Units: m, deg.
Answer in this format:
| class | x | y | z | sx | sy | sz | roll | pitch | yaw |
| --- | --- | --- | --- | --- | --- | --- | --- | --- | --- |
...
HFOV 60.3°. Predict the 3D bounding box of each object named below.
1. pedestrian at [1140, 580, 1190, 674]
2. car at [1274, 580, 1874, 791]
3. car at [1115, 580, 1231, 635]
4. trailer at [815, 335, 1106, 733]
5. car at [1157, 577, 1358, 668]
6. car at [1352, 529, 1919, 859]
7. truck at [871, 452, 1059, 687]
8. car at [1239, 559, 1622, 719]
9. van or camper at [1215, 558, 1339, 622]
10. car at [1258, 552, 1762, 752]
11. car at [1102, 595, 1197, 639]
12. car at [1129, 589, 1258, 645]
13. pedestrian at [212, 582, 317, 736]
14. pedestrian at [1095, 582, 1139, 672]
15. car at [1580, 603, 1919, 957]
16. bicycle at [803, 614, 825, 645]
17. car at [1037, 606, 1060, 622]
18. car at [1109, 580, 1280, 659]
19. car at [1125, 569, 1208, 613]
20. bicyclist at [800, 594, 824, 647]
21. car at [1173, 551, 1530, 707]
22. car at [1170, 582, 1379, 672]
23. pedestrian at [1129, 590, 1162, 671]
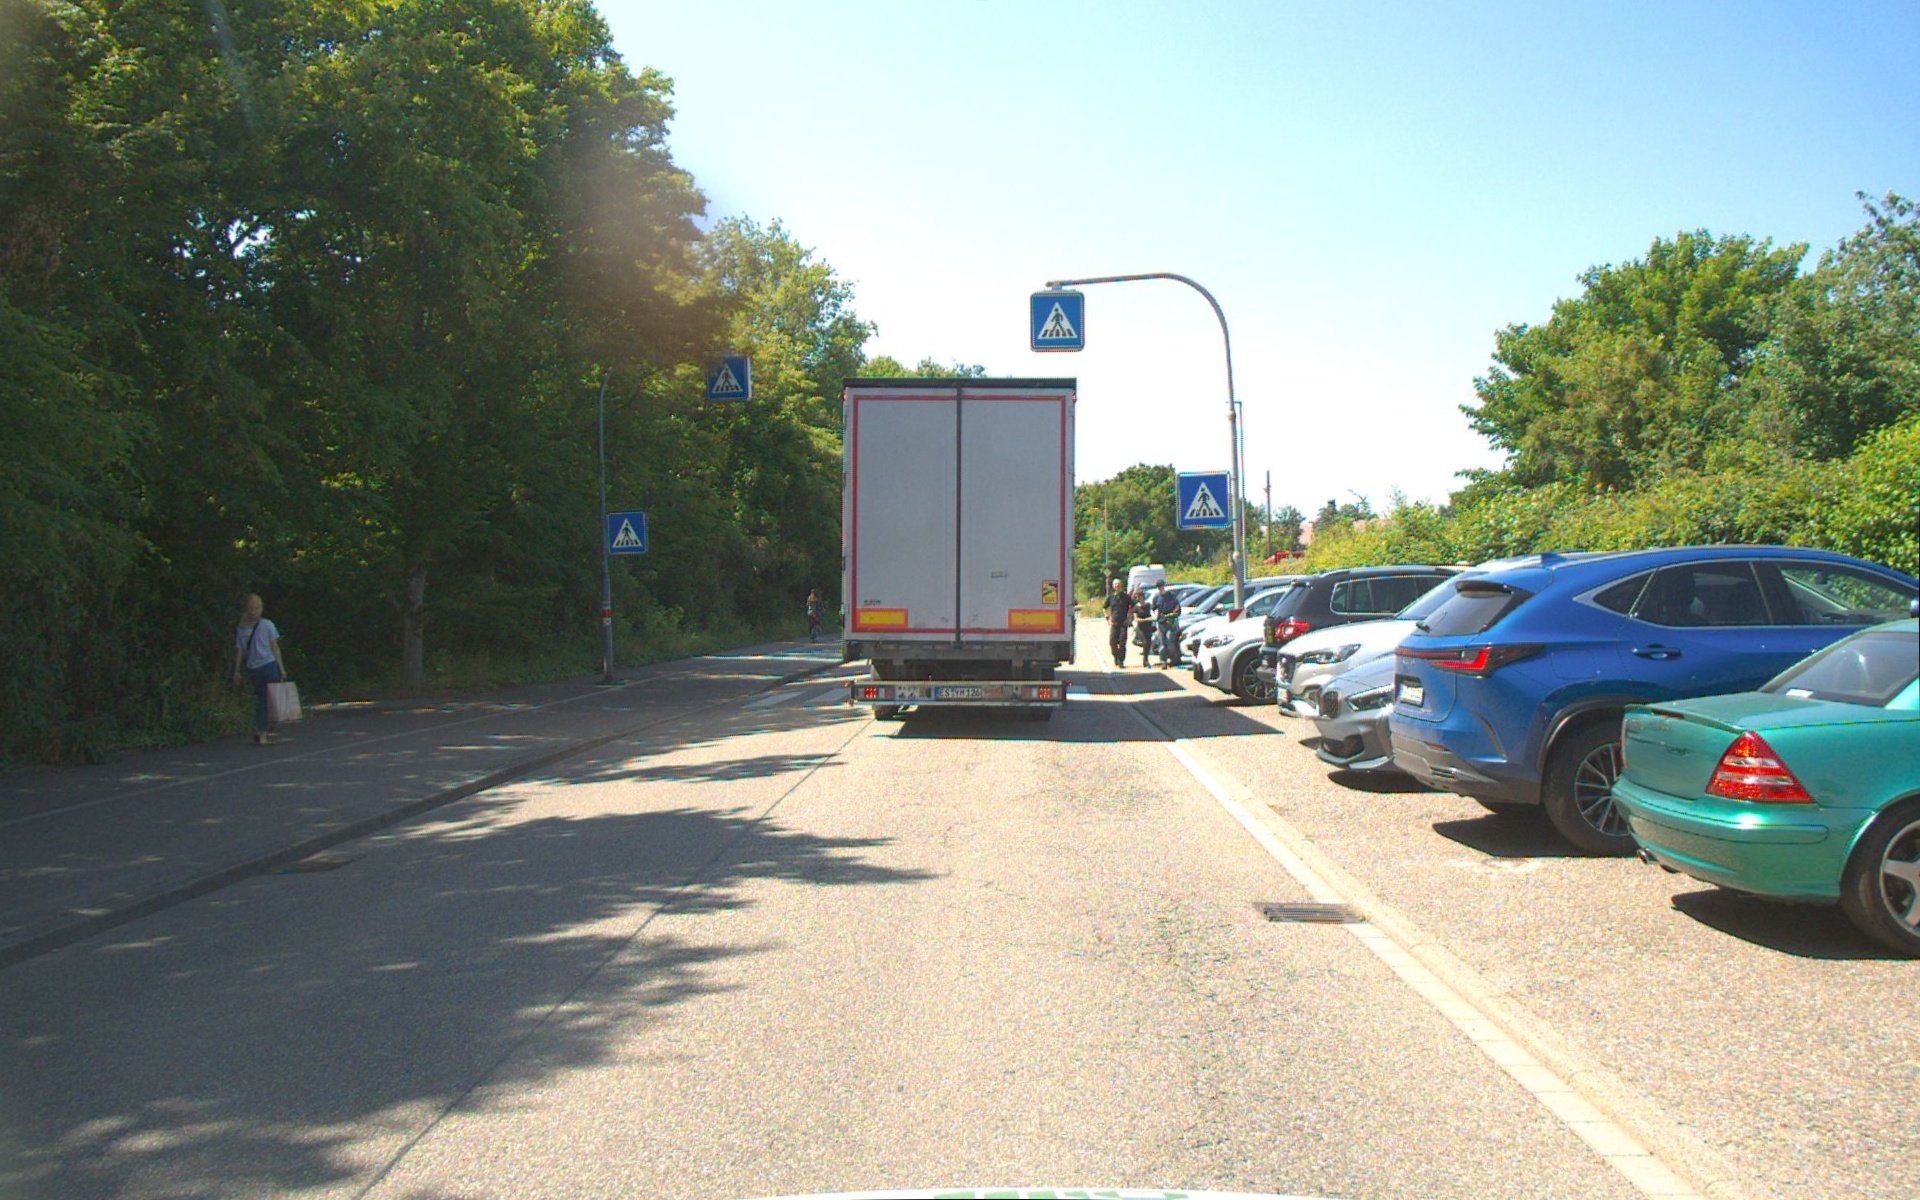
| class | x | y | z | sx | sy | sz | roll | pitch | yaw |
| --- | --- | --- | --- | --- | --- | --- | --- | --- | --- |
| pedestrian | 4.164 | 0.552 | 33.655 | 0.888 | 1.830 | 0.936 | -4 | -1 | 6 |
| car | 4.718 | 0.613 | 13.014 | 4.052 | 1.464 | 1.812 | -1 | 0 | -7 |
| car | 7.710 | 0.272 | 60.104 | 3.877 | 1.796 | 1.813 | -3 | 0 | -2 |
| trailer | 0.074 | -0.702 | 23.183 | 3.048 | 4.174 | 11.537 | 0 | 0 | 1 |
| car | 6.380 | 0.486 | 35.704 | 3.879 | 1.697 | 1.812 | -3 | -1 | -4 |
| car | 4.681 | 0.478 | 9.949 | 4.152 | 1.662 | 1.823 | -3 | 0 | 0 |
| truck | 0.213 | -0.483 | 29.922 | 3.049 | 3.790 | 6.415 | 0 | 0 | 2 |
| car | 5.541 | 0.455 | 19.868 | 4.040 | 1.686 | 1.887 | -2 | -1 | 1 |
| van or camper | 18.365 | -0.540 | 95.697 | 6.895 | 3.650 | 2.775 | 0 | -1 | 15 |
| car | 5.111 | 0.464 | 15.796 | 4.150 | 1.682 | 1.899 | -1 | 0 | -1 |
| car | 8.350 | 0.765 | 73.053 | 3.877 | 1.697 | 1.812 | -3 | -1 | -2 |
| car | 7.593 | 0.538 | 53.949 | 3.877 | 1.647 | 1.813 | -2 | 0 | -2 |
| pedestrian | -7.665 | 0.641 | 18.252 | 0.811 | 1.651 | 0.783 | 1 | 0 | -1 |
| pedestrian | 3.377 | 0.580 | 35.570 | 0.804 | 1.866 | 0.793 | -4 | -1 | 6 |
| car | 4.845 | 0.640 | 7.172 | 3.658 | 1.290 | 1.628 | -3 | -1 | 2 |
| bicycle | -4.966 | 0.998 | 56.393 | 0.444 | 1.065 | 2.204 | 0 | -1 | 4 |
| car | 8.574 | 1.380 | 160.097 | 1.743 | 1.512 | 4.003 | 0 | 0 | 10 |
| car | 5.868 | 0.461 | 41.606 | 3.881 | 1.697 | 1.811 | -3 | 2 | -6 |
| car | 10.059 | -0.444 | 80.788 | 3.873 | 1.829 | 1.814 | -4 | -3 | 4 |
| bicyclist | -5.049 | 0.706 | 56.406 | 0.701 | 1.789 | 0.796 | 0 | -1 | 5 |
| car | 5.259 | 0.387 | 22.625 | 4.316 | 1.727 | 1.876 | -4 | -1 | -1 |
| car | 6.172 | 0.541 | 32.828 | 3.873 | 1.505 | 1.814 | -4 | -1 | 6 |
| pedestrian | 3.892 | 0.634 | 34.635 | 0.577 | 1.643 | 0.745 | -4 | -1 | 6 |
